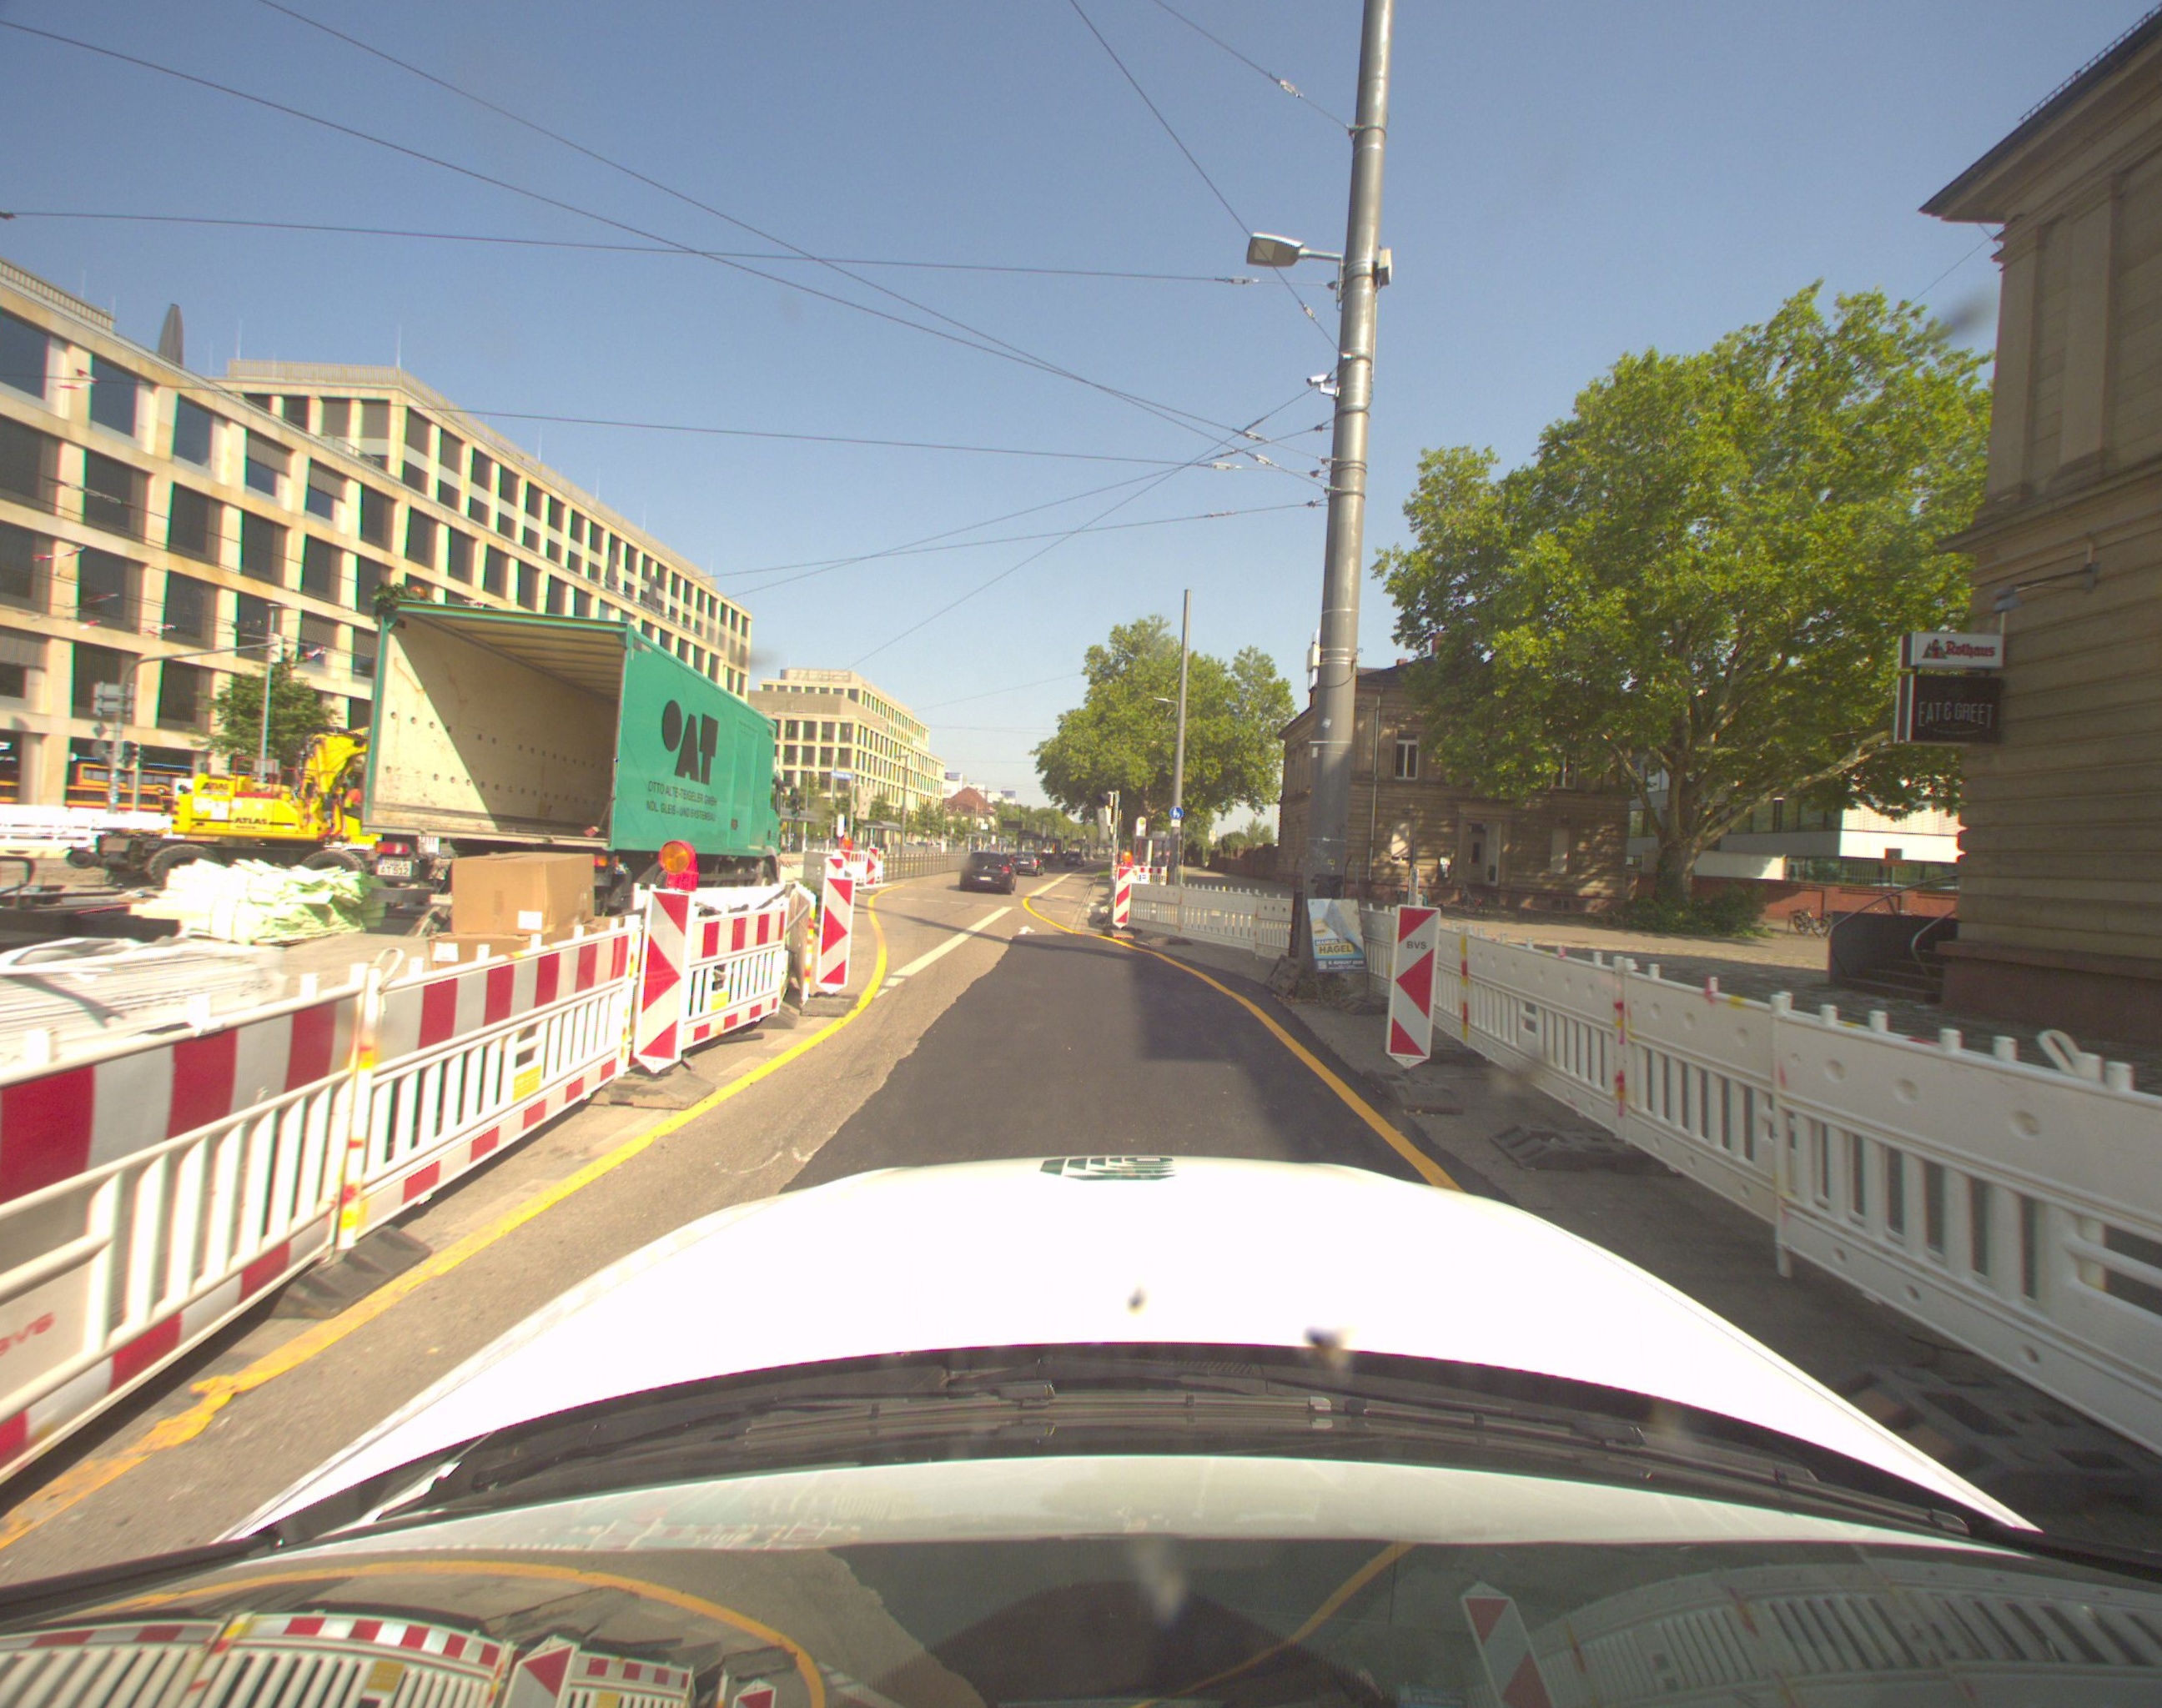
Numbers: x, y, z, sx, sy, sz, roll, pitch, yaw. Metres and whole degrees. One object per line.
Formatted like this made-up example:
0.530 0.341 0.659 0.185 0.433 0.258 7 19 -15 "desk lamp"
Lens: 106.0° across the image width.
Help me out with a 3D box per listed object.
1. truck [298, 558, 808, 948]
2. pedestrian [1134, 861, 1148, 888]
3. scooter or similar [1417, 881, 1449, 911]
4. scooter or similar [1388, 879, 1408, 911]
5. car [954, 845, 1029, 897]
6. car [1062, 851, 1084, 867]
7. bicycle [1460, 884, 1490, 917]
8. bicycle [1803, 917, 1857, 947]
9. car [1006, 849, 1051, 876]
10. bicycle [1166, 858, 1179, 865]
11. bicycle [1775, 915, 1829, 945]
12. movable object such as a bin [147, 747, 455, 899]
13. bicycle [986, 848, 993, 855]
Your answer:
-6.758 -1.023 12.674 2.805 3.788 8.995 2 0 -7 "truck"
2.960 0.997 40.022 0.606 1.277 0.759 1 0 0 "pedestrian"
13.773 1.643 31.891 1.088 1.132 0.312 3 0 -1 "scooter or similar"
12.247 1.557 31.494 0.406 1.166 1.228 3 0 7 "scooter or similar"
-3.055 0.561 28.498 1.900 1.537 4.002 4 0 2 "car"
-0.764 0.487 82.891 1.900 1.537 4.003 3 0 3 "car"
15.178 1.766 31.403 0.495 1.166 1.632 3 0 7 "bicycle"
27.749 2.884 30.204 0.564 0.860 1.801 3 2 11 "bicycle"
-3.056 0.467 47.935 1.984 1.441 4.006 3 0 5 "car"
15.425 1.339 137.675 2.165 1.076 0.743 3 -1 1 "bicycle"
26.861 2.819 30.374 0.642 0.860 1.801 3 2 10 "bicycle"
-18.895 -0.695 20.165 4.116 3.222 3.553 3 0 -13 "movable object such as a bin"
-15.079 -0.417 134.239 0.467 1.147 1.490 3 -1 18 "bicycle"
